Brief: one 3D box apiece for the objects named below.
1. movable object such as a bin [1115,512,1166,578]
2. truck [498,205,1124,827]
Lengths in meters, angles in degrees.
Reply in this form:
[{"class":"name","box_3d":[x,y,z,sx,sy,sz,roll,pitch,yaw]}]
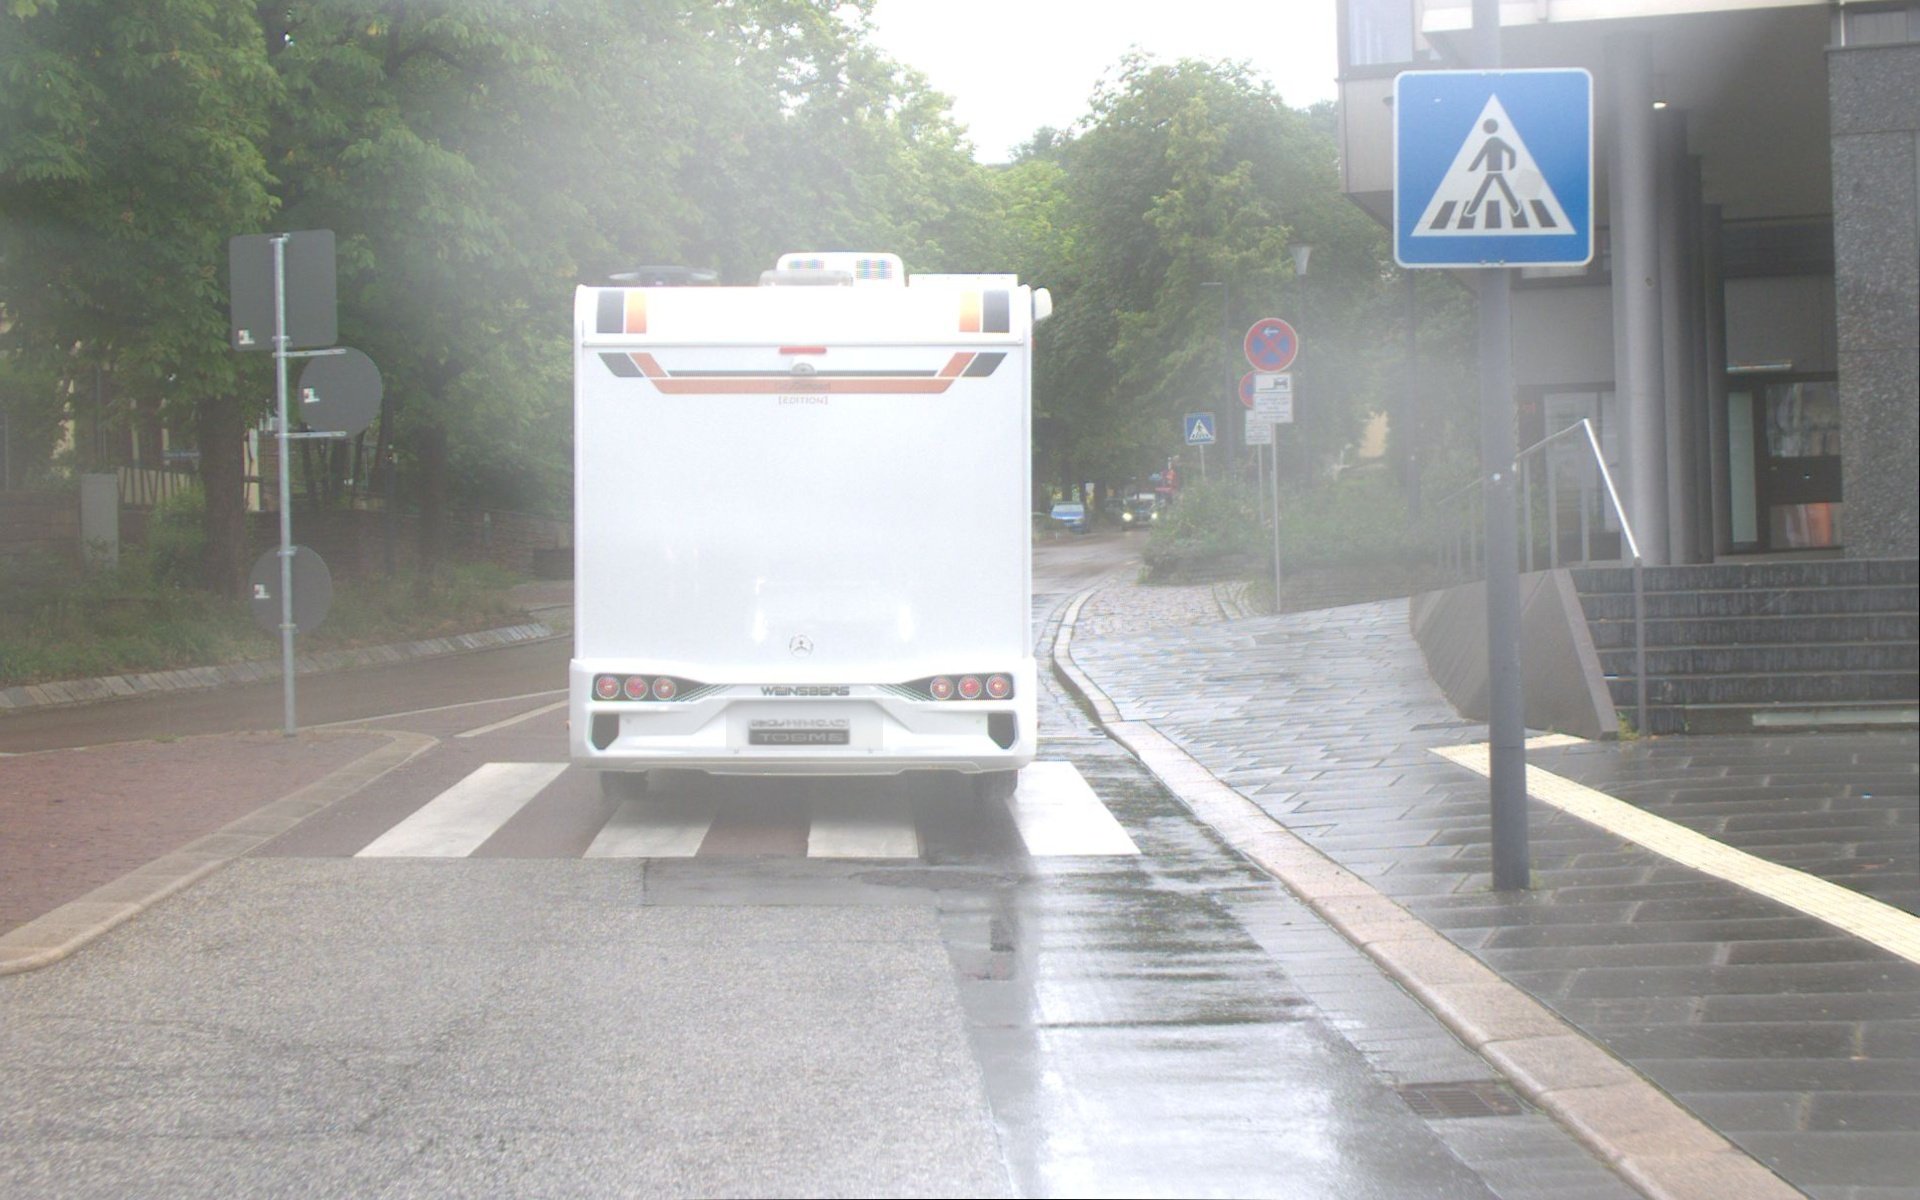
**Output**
[{"class":"movable object such as a bin","box_3d":[3.186,-0.966,60.654,0.704,1.120,0.571,-3,0,22]},{"class":"truck","box_3d":[-0.743,-0.401,19.137,2.805,2.787,6.107,-3,0,-1]}]
